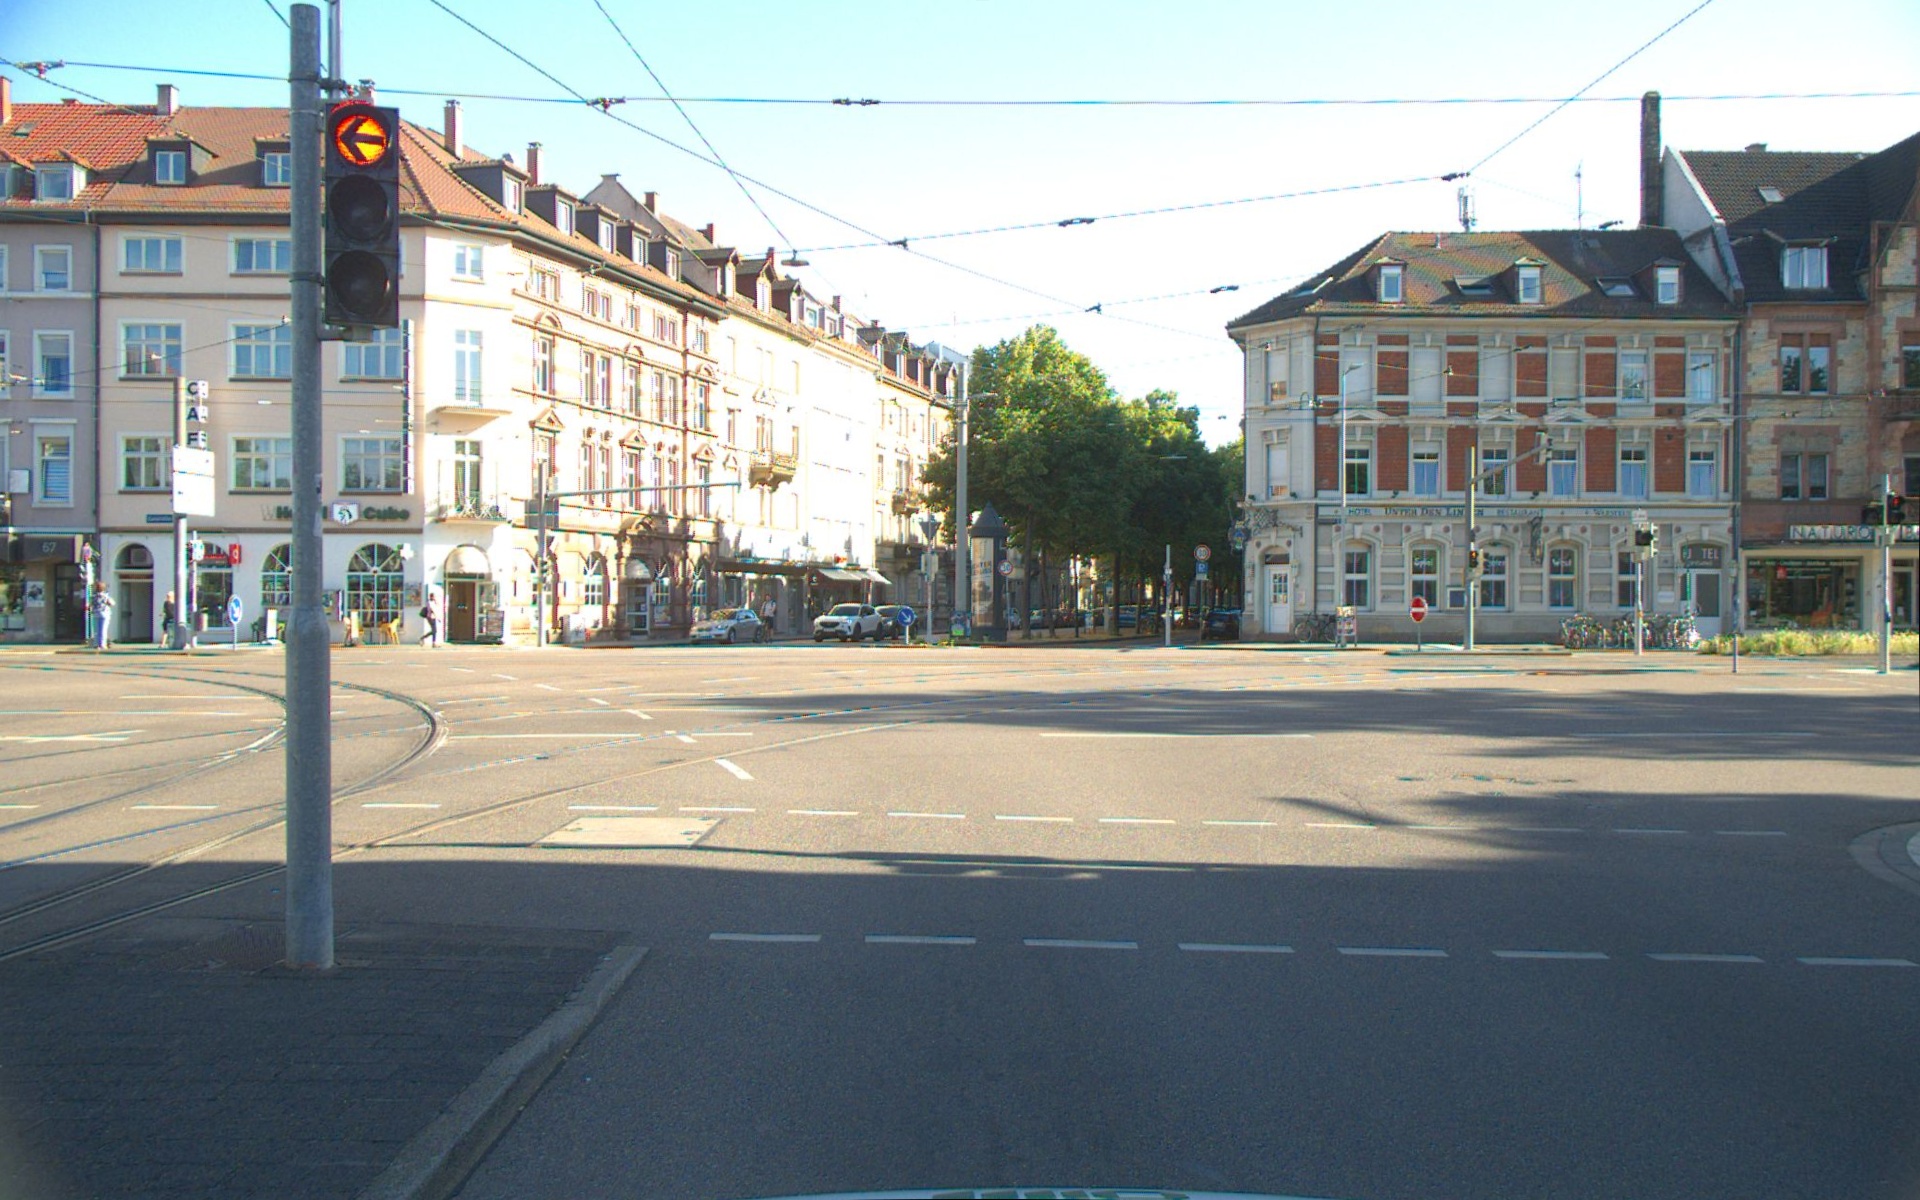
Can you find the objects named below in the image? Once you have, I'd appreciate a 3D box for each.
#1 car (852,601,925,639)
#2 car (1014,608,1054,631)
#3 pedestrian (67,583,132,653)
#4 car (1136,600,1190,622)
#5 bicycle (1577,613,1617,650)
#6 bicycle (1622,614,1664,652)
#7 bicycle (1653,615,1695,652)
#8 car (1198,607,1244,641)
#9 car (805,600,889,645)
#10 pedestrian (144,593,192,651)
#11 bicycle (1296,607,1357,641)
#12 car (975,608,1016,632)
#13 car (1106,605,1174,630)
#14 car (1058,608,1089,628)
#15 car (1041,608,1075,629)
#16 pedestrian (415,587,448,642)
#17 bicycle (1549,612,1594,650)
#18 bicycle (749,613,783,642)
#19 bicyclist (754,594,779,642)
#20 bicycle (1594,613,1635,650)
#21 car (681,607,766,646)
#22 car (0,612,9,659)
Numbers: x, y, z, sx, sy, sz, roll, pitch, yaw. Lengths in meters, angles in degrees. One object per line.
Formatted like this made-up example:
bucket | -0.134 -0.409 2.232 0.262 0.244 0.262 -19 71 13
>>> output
car | -3.149 0.861 73.787 1.951 1.640 4.393 0 0 17
car | 5.521 1.425 122.738 1.951 1.640 4.393 0 0 17
pedestrian | -21.565 0.445 41.491 1.058 1.714 1.103 0 0 -1
car | 16.411 0.886 133.873 3.912 1.736 1.996 0 0 30
bicycle | 20.594 1.003 53.540 0.605 1.163 2.175 0 0 4
bicycle | 22.073 1.059 53.451 0.605 1.163 2.175 0 0 4
bicycle | 23.038 1.063 53.399 0.596 1.156 2.136 0 0 4
car | 13.068 1.162 82.634 1.951 1.613 4.003 0 0 13
car | -4.543 0.883 67.252 1.951 1.713 4.393 0 0 17
pedestrian | -24.892 0.680 52.003 0.985 1.806 0.942 0 0 14
bicycle | 12.751 0.821 57.583 2.045 1.144 0.366 1 -1 -5
car | 2.408 1.325 110.989 1.951 1.512 4.003 0 0 13
car | 12.561 1.212 115.517 4.290 1.640 1.998 0 0 26
car | 9.385 1.462 136.463 1.727 1.576 4.394 0 0 16
car | 7.773 1.422 130.562 1.798 1.579 4.393 0 0 16
pedestrian | -17.201 0.470 53.843 1.030 1.774 0.804 0 0 -18
bicycle | 19.822 0.992 53.659 0.789 1.163 2.175 0 0 4
bicycle | -7.596 1.080 64.888 0.665 1.085 2.127 0 0 12
bicyclist | -7.585 0.693 64.930 0.664 1.852 1.071 0 0 12
bicycle | 21.166 0.997 53.510 0.605 1.163 2.175 0 0 4
car | -9.527 1.034 66.898 1.858 1.481 4.002 0 0 17
car | -32.398 1.138 51.941 3.907 1.478 1.999 0 0 -3
